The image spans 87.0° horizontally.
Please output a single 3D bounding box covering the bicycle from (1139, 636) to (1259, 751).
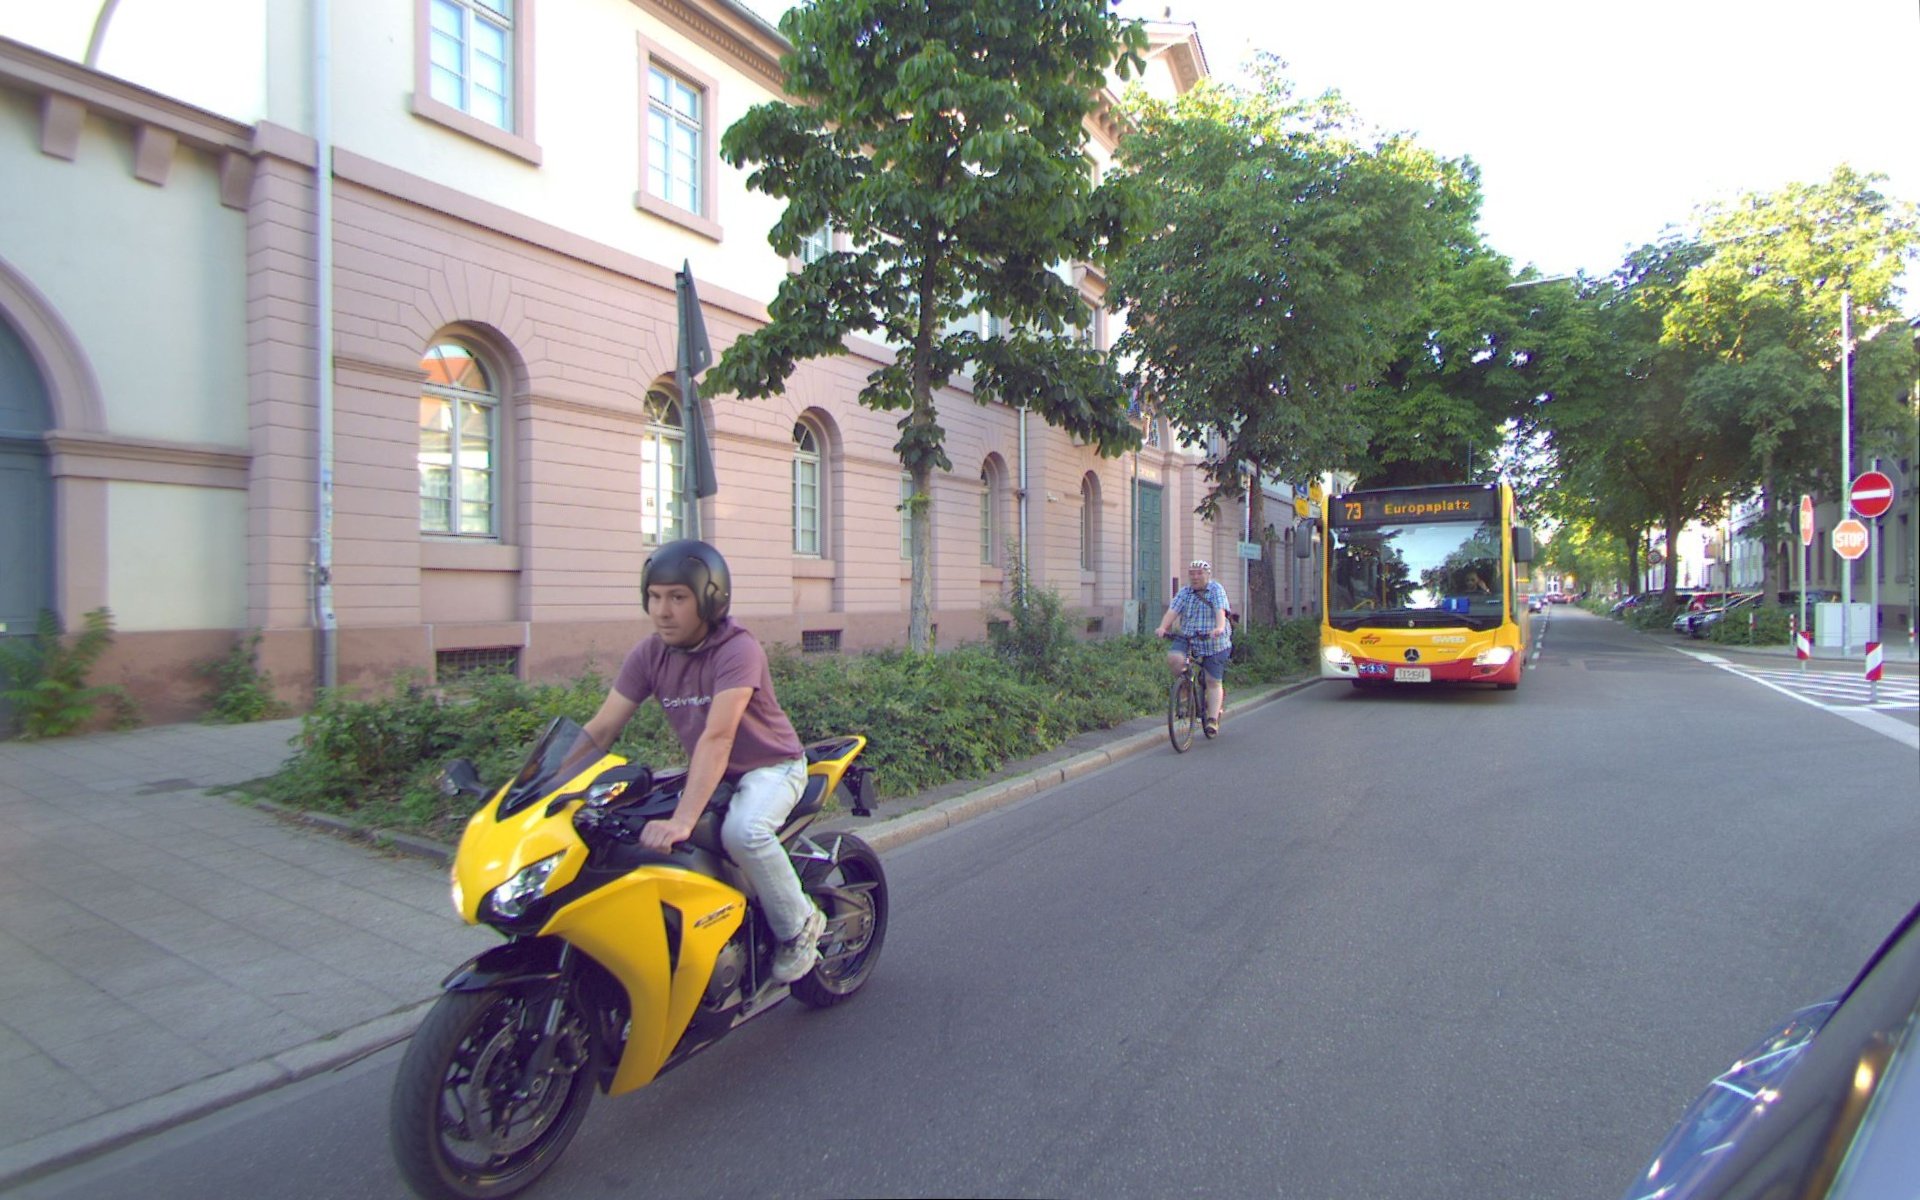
[{"bbox_3d":[2.468,0.897,10.279,0.632,0.996,1.960,-3,-1,29],"label":"bicycle"}]

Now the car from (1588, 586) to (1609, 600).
[{"bbox_3d":[70.684,-0.795,112.036,1.785,1.529,3.957,0,1,30],"label":"car"}]

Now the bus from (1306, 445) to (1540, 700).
[{"bbox_3d":[9.016,-0.388,18.598,2.648,3.235,11.770,-2,0,31],"label":"bus"}]

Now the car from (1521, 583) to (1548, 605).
[{"bbox_3d":[44.866,-0.482,79.028,1.830,1.730,3.957,0,1,30],"label":"car"}]

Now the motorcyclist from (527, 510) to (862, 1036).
[{"bbox_3d":[-0.821,0.472,3.240,0.730,1.430,0.721,-1,0,24],"label":"motorcyclist"}]

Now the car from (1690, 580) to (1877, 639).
[{"bbox_3d":[24.446,0.250,30.237,3.956,1.690,1.786,0,0,24],"label":"car"}]

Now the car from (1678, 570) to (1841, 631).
[{"bbox_3d":[27.168,0.006,34.581,3.956,1.976,1.984,0,0,24],"label":"car"}]

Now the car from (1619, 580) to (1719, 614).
[{"bbox_3d":[37.000,-0.147,52.910,3.956,1.730,1.830,0,0,24],"label":"car"}]

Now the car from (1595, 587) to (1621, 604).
[{"bbox_3d":[57.087,-0.413,89.242,1.785,1.529,3.957,0,1,30],"label":"car"}]

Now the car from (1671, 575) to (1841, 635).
[{"bbox_3d":[25.568,0.142,32.693,3.956,1.834,1.786,0,0,24],"label":"car"}]

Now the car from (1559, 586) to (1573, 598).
[{"bbox_3d":[89.590,-1.247,149.653,1.830,1.730,4.113,0,1,30],"label":"car"}]

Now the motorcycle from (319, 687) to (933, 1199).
[{"bbox_3d":[-0.832,0.908,3.203,0.730,1.073,1.949,-1,0,23],"label":"motorcycle"}]

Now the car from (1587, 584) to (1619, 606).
[{"bbox_3d":[46.957,-0.383,73.979,1.785,1.529,3.957,0,1,30],"label":"car"}]

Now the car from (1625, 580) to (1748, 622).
[{"bbox_3d":[31.146,0.018,43.542,3.956,1.730,1.984,0,0,24],"label":"car"}]

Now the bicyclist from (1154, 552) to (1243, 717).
[{"bbox_3d":[2.427,0.342,10.265,0.632,1.581,0.810,-3,-2,30],"label":"bicyclist"}]
